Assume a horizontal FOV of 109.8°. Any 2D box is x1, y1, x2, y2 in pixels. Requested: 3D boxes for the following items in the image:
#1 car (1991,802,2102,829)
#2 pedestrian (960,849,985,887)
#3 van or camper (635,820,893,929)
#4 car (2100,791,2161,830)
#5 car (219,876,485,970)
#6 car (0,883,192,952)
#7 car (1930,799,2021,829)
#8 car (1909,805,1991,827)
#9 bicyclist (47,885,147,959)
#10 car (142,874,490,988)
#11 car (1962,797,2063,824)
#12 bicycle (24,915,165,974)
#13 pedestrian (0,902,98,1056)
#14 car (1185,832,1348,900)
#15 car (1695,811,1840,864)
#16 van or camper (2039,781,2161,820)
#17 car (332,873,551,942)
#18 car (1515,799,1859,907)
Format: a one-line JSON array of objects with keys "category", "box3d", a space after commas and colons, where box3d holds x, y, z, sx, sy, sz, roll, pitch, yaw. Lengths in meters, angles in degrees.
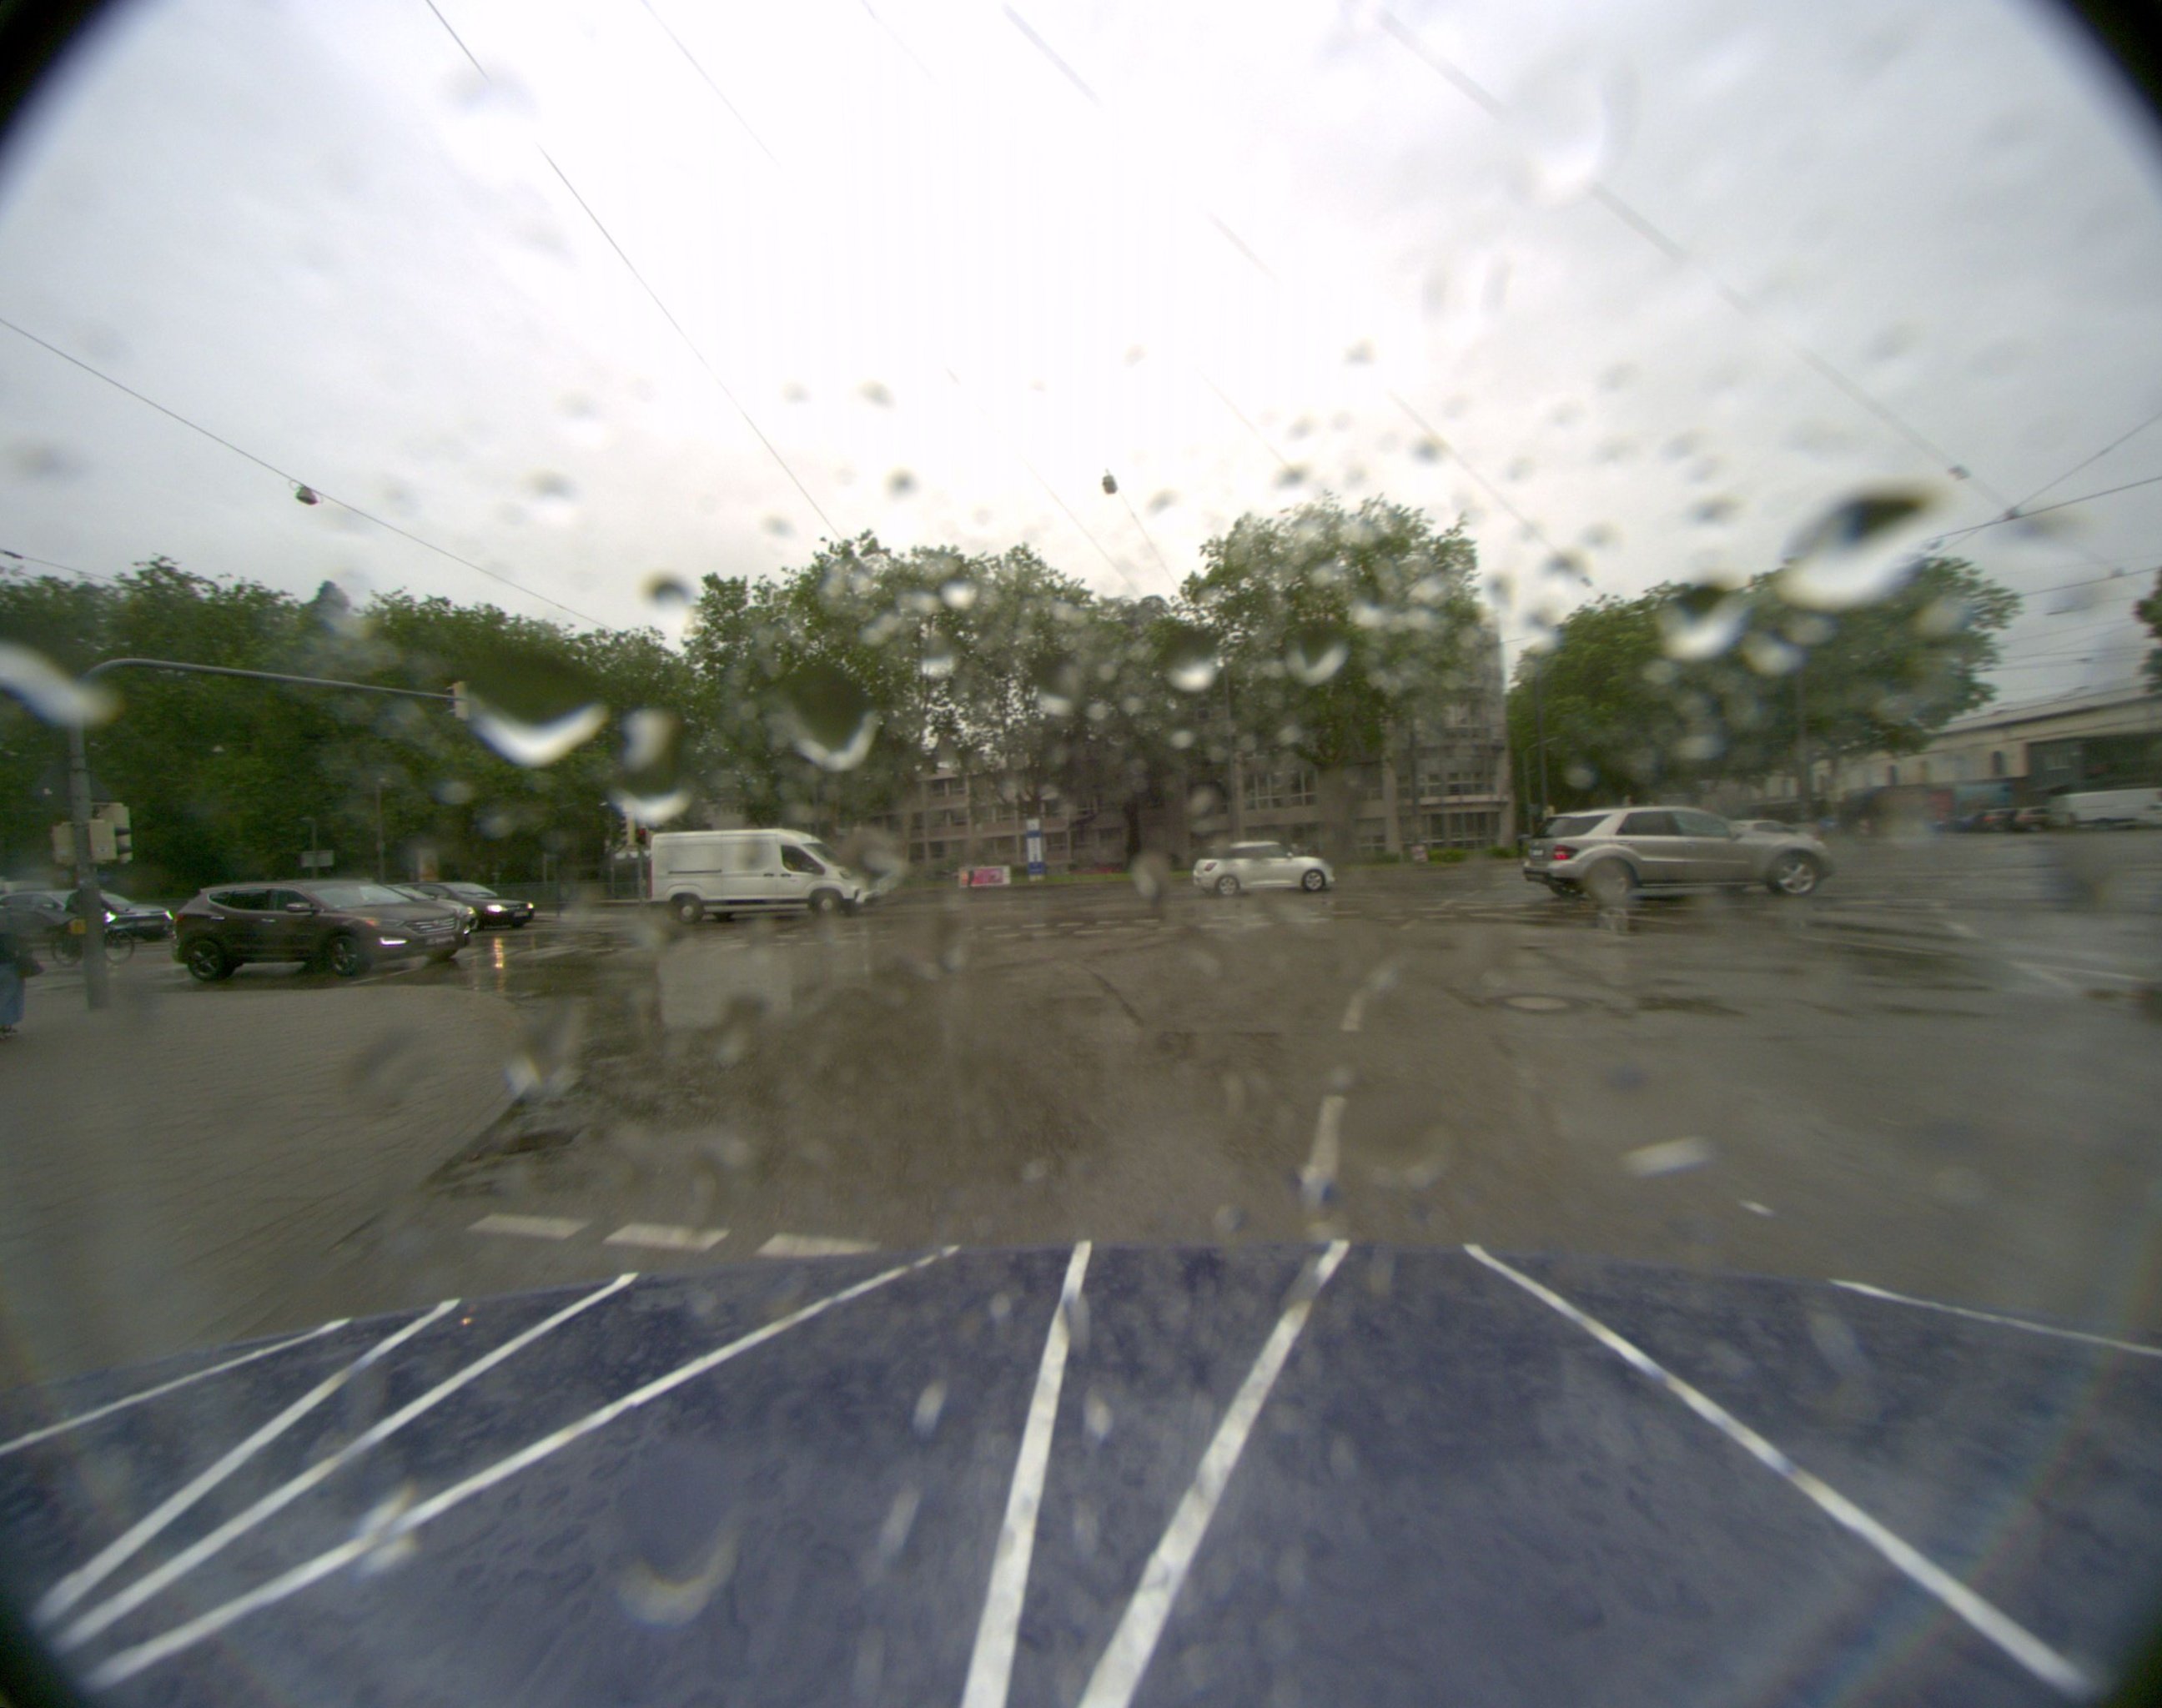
[{"category": "car", "box3d": [62.780, -2.471, 49.526, 3.989, 1.605, 2.003, 0, 2, 28]}, {"category": "pedestrian", "box3d": [-4.666, 0.599, 32.683, 0.719, 1.601, 0.734, -4, 1, -36]}, {"category": "van or camper", "box3d": [-8.467, 0.518, 20.703, 5.965, 2.457, 2.182, -3, 1, 2]}, {"category": "car", "box3d": [59.963, -2.479, 41.936, 3.992, 2.002, 2.002, -3, 1, 19]}, {"category": "car", "box3d": [-17.016, 1.565, 17.920, 4.263, 1.732, 1.976, -4, 2, 1]}, {"category": "car", "box3d": [-28.870, 1.828, 21.990, 4.243, 1.625, 1.849, -4, 2, 5]}, {"category": "car", "box3d": [66.039, -2.940, 56.203, 3.989, 1.918, 2.003, -2, 2, 37]}, {"category": "car", "box3d": [69.894, -3.060, 61.218, 3.989, 1.647, 1.789, -1, 3, 33]}, {"category": "bicyclist", "box3d": [-21.314, 1.457, 16.481, 0.804, 1.462, 0.928, -2, 3, 4]}, {"category": "car", "box3d": [-14.005, 1.370, 14.073, 4.674, 1.637, 1.914, -4, 2, 6]}, {"category": "car", "box3d": [64.996, -3.034, 53.127, 3.990, 1.604, 2.003, -3, 1, 28]}, {"category": "bicycle", "box3d": [-21.218, 1.941, 16.374, 1.996, 1.082, 0.819, -2, 3, 4]}, {"category": "pedestrian", "box3d": [-12.607, 1.457, 8.830, 1.107, 1.657, 0.995, -5, 2, -36]}, {"category": "car", "box3d": [5.200, 0.316, 21.582, 4.072, 1.578, 1.806, -4, 1, -4]}, {"category": "car", "box3d": [23.109, -0.548, 25.604, 4.194, 1.528, 1.810, -4, 1, -19]}, {"category": "van or camper", "box3d": [60.293, -3.121, 44.581, 4.643, 2.063, 2.003, -2, 2, 26]}, {"category": "car", "box3d": [-17.735, 1.456, 21.210, 4.552, 1.505, 1.787, -4, 2, 2]}, {"category": "car", "box3d": [11.091, -0.018, 14.291, 4.673, 1.637, 1.915, -3, 2, 10]}]
